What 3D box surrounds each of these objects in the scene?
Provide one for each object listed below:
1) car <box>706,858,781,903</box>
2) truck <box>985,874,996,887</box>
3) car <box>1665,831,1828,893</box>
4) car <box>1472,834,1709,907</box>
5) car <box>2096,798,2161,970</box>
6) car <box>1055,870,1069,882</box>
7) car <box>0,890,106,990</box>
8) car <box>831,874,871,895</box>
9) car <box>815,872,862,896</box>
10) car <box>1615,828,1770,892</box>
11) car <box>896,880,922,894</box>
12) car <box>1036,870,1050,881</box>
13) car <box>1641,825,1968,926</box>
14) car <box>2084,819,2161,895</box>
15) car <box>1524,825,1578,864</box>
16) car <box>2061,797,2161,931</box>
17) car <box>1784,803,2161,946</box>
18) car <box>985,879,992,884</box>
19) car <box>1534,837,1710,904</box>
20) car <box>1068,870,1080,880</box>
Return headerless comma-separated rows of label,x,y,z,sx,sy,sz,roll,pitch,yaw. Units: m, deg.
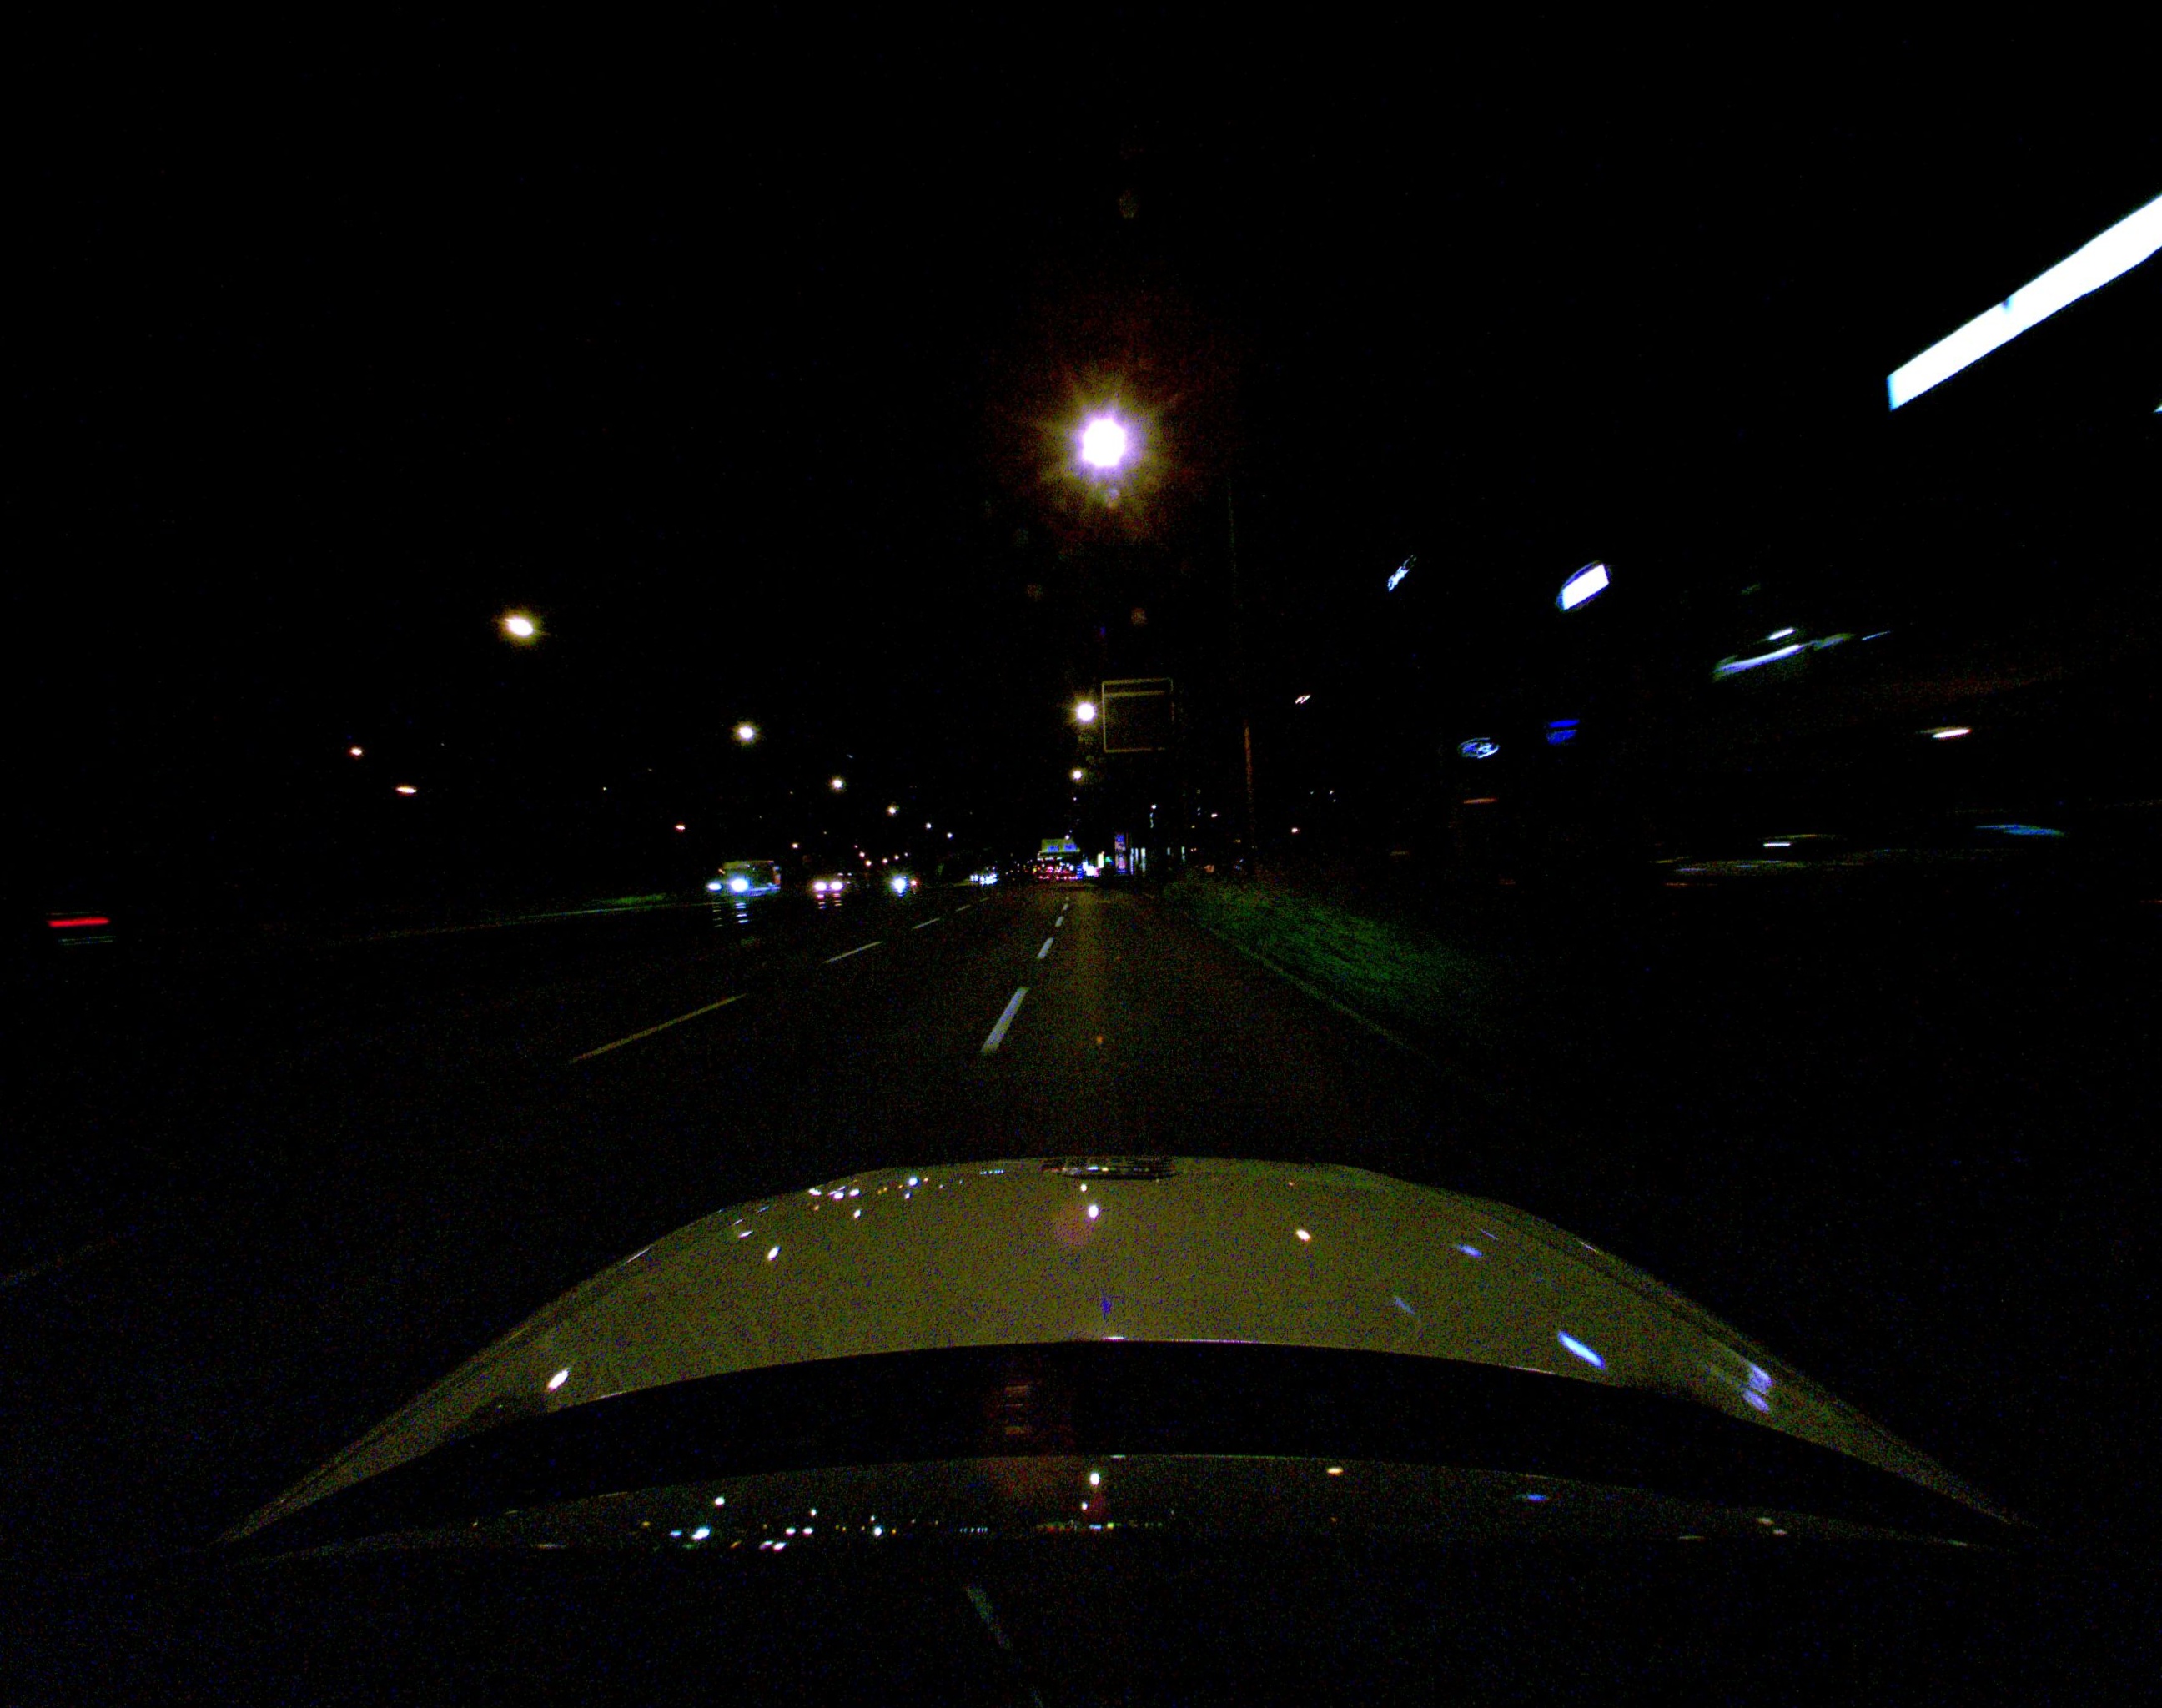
car,-22.451,1.764,54.525,2.140,2.671,6.956,-4,-1,-2
truck,-28.961,8.405,259.815,3.032,3.820,4.932,-1,-1,-1
car,23.388,0.304,28.884,1.948,1.994,4.402,-1,-1,-4
car,10.737,0.332,17.294,4.124,1.420,1.869,-1,-1,-12
car,10.849,0.212,6.992,3.616,1.433,1.667,-1,-1,-22
car,-3.421,4.032,147.864,2.347,2.129,4.827,-1,-1,2
car,-20.014,1.546,13.798,1.772,1.713,4.230,-1,-1,3
car,-19.105,2.495,67.804,1.856,1.514,4.614,-3,-1,1
car,-15.906,1.942,53.668,1.614,1.440,4.338,-3,-1,1
car,20.999,0.237,28.228,1.808,1.994,4.402,-1,-1,-4
car,-19.637,3.770,93.118,1.861,1.429,4.954,-1,-1,-1
car,-7.026,4.066,152.138,2.254,2.014,4.827,-1,-1,2
car,11.039,0.254,12.418,4.649,1.264,1.932,-2,0,-23
car,24.443,-0.006,17.447,1.630,1.641,3.295,-4,-3,-4
car,29.259,-0.607,50.669,4.025,1.658,1.612,-11,-1,-44
car,15.789,0.043,10.543,1.596,1.796,3.825,0,-4,-38
car,10.864,0.172,9.700,3.995,1.424,1.899,-2,0,-16
car,-27.697,8.165,243.610,1.906,1.474,3.768,-1,-1,-2
car,18.130,0.545,27.743,1.989,2.014,5.620,-1,-1,-4
car,-1.445,4.479,172.988,2.418,2.113,4.827,-1,-1,2
